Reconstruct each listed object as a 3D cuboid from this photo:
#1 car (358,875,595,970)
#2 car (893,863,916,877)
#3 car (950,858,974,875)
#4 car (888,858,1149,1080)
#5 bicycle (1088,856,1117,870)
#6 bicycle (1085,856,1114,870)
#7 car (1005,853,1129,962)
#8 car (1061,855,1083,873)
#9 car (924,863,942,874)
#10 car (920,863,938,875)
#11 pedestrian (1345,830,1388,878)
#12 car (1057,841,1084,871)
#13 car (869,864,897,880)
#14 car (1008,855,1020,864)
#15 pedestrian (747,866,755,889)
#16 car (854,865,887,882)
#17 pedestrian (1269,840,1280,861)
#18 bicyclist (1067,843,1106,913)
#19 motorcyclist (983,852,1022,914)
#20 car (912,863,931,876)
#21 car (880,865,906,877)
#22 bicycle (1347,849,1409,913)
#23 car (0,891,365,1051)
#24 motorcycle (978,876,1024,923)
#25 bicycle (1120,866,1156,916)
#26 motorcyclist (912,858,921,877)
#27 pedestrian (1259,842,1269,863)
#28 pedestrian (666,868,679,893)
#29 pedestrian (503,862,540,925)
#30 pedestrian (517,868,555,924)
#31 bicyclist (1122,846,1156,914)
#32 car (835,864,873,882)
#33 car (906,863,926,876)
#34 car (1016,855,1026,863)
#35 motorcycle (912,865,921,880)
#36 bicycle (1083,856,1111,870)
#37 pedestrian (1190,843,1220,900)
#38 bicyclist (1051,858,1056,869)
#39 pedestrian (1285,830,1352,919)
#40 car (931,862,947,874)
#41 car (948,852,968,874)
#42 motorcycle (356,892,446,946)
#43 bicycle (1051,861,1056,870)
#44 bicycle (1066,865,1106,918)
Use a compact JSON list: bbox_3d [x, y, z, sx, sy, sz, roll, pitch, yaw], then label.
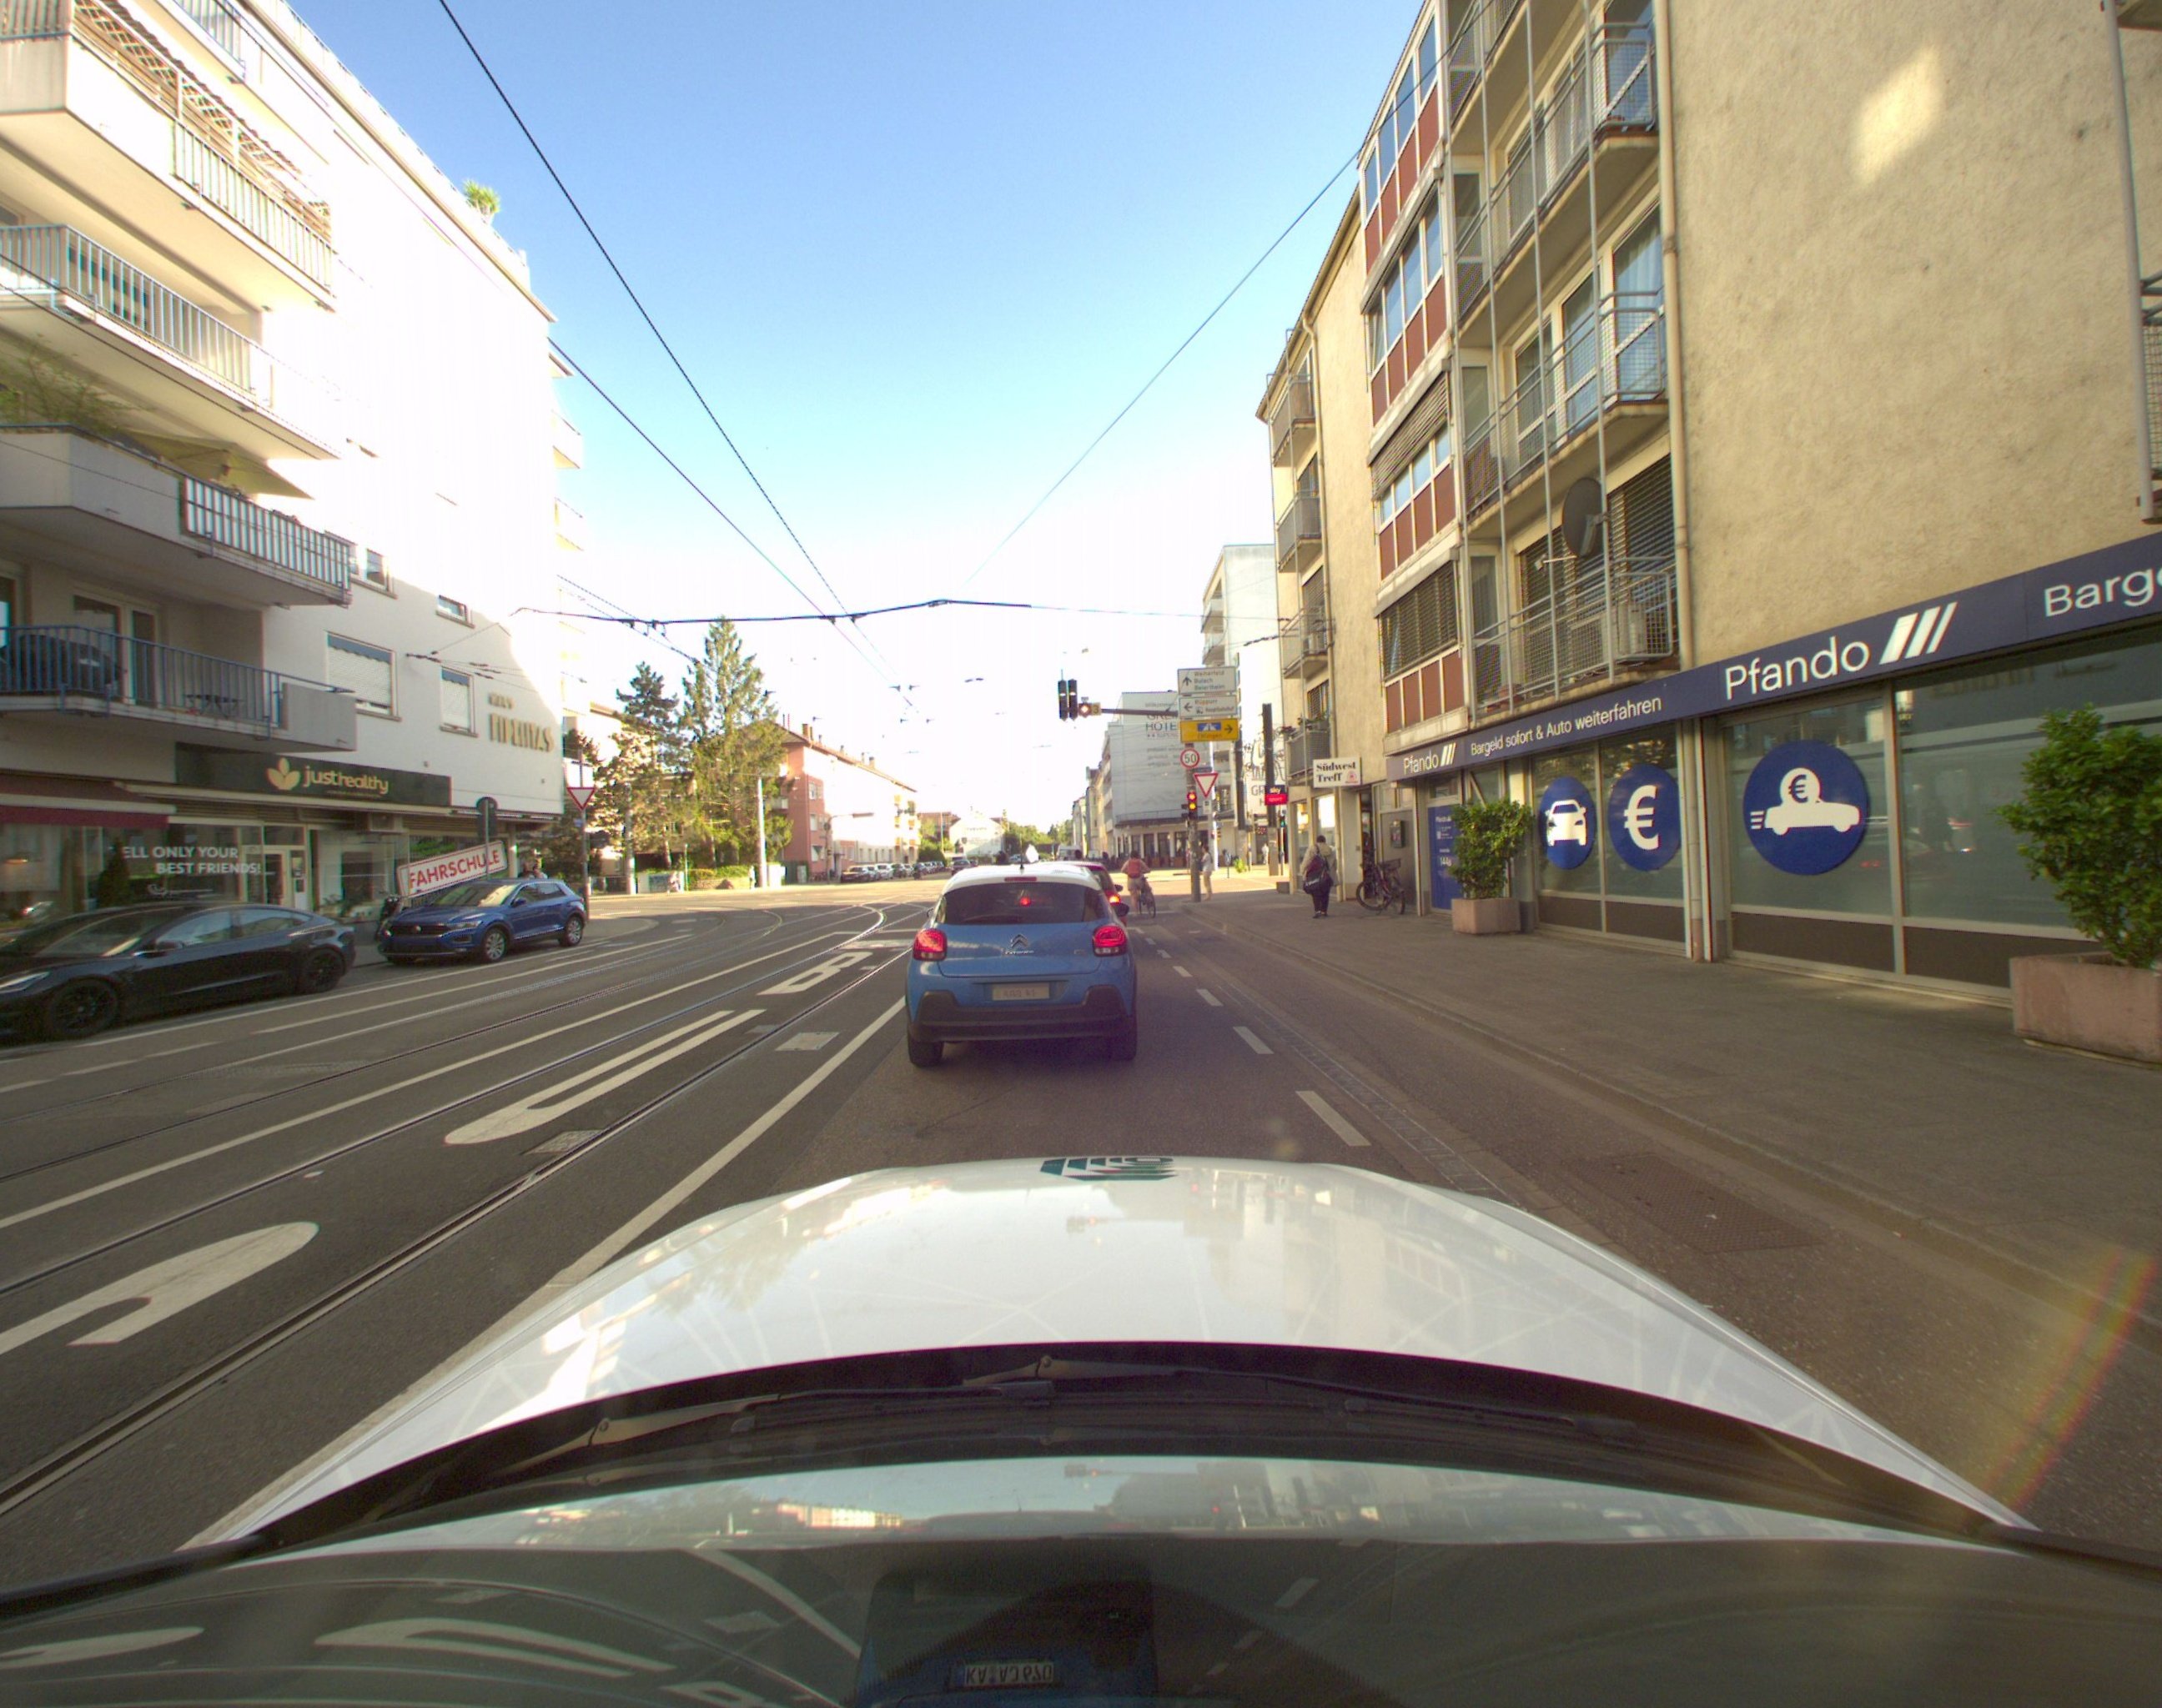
[{"bbox_3d":[-11.820,1.248,16.349,1.765,1.503,4.233,0,1,-4],"label":"car"},{"bbox_3d":[-20.065,1.826,92.732,1.865,1.576,3.995,0,-1,-3],"label":"car"},{"bbox_3d":[-11.229,1.175,76.898,1.775,1.486,3.824,-3,0,-3],"label":"car"},{"bbox_3d":[-0.409,0.786,7.331,1.731,1.452,3.662,-1,0,0],"label":"car"},{"bbox_3d":[1.763,0.740,65.935,2.246,1.001,0.855,-4,0,-4],"label":"bicycle"},{"bbox_3d":[1.534,0.743,67.309,2.246,1.001,0.855,-4,0,-4],"label":"bicycle"},{"bbox_3d":[-0.282,0.764,13.610,1.780,1.521,3.758,0,0,-3],"label":"car"},{"bbox_3d":[-0.767,0.803,68.037,1.654,1.431,3.882,0,-1,-4],"label":"car"},{"bbox_3d":[-20.585,1.996,113.405,1.865,1.576,3.995,0,-1,-3],"label":"car"},{"bbox_3d":[-20.142,1.951,108.283,1.865,1.576,3.995,0,-1,-3],"label":"car"},{"bbox_3d":[6.751,-0.004,19.252,0.627,1.087,0.672,-3,1,-36],"label":"pedestrian"},{"bbox_3d":[-0.971,0.190,73.030,2.260,2.482,5.002,-1,0,-3],"label":"car"},{"bbox_3d":[-19.417,1.717,80.058,1.737,1.526,4.227,0,-1,-1],"label":"car"},{"bbox_3d":[-14.020,1.207,170.553,2.212,1.932,4.946,0,-1,-1],"label":"car"},{"bbox_3d":[-23.592,1.673,58.198,0.519,1.568,0.568,0,-1,-26],"label":"pedestrian"},{"bbox_3d":[-19.432,1.772,75.331,1.897,1.436,4.102,0,0,0],"label":"car"},{"bbox_3d":[15.301,-0.277,64.533,0.604,1.608,0.673,-1,-1,40],"label":"pedestrian"},{"bbox_3d":[0.142,0.572,20.089,0.937,1.673,1.079,0,-1,0],"label":"bicyclist"},{"bbox_3d":[-1.912,0.698,19.954,0.852,1.488,0.729,0,-1,1],"label":"motorcyclist"},{"bbox_3d":[-20.199,1.912,103.385,1.865,1.576,3.995,0,-1,-3],"label":"car"},{"bbox_3d":[-19.967,1.769,86.720,1.942,1.239,4.279,0,0,-2],"label":"car"},{"bbox_3d":[5.708,0.504,15.755,0.495,1.161,1.776,-2,-1,-1],"label":"bicycle"},{"bbox_3d":[-12.001,1.303,10.430,1.764,1.475,4.443,0,0,-1],"label":"car"},{"bbox_3d":[-1.911,1.067,19.786,0.852,1.047,1.943,0,-1,2],"label":"motorcycle"},{"bbox_3d":[1.476,0.910,20.660,0.807,1.181,2.068,0,-1,6],"label":"bicycle"},{"bbox_3d":[-13.635,1.108,67.575,0.694,1.497,0.681,-2,-2,-12],"label":"motorcyclist"},{"bbox_3d":[13.965,-0.094,62.174,0.604,1.608,0.673,-1,-1,29],"label":"pedestrian"},{"bbox_3d":[-28.447,1.831,56.701,0.785,1.722,0.699,0,-1,-22],"label":"pedestrian"},{"bbox_3d":[-17.325,1.230,25.210,0.568,1.900,0.742,-2,-3,16],"label":"pedestrian"},{"bbox_3d":[-18.061,1.370,26.989,0.732,1.792,0.663,-2,0,5],"label":"pedestrian"},{"bbox_3d":[1.472,0.648,20.658,0.807,1.692,0.937,0,-1,6],"label":"bicyclist"},{"bbox_3d":[-19.375,1.628,69.685,2.149,1.432,4.435,0,-2,-3],"label":"car"},{"bbox_3d":[-20.010,1.874,98.795,1.865,1.576,3.995,0,-1,-3],"label":"car"},{"bbox_3d":[-13.866,1.204,188.471,2.068,1.762,5.034,0,0,-1],"label":"car"},{"bbox_3d":[-13.609,1.548,67.466,0.712,1.220,1.957,-2,-2,-12],"label":"motorcycle"},{"bbox_3d":[1.380,0.760,68.425,2.246,1.001,0.855,-4,0,-4],"label":"bicycle"},{"bbox_3d":[3.700,0.511,24.219,0.534,1.623,0.737,-7,-3,23],"label":"pedestrian"},{"bbox_3d":[-5.143,1.699,151.403,0.787,2.024,0.987,0,-1,3],"label":"bicyclist"},{"bbox_3d":[4.551,0.376,15.658,0.883,1.592,0.809,-5,1,-7],"label":"pedestrian"},{"bbox_3d":[-20.781,2.047,119.628,1.865,1.576,3.995,0,-1,-3],"label":"car"},{"bbox_3d":[-18.061,1.265,119.739,2.411,3.142,3.487,0,-1,-1],"label":"car"},{"bbox_3d":[-15.812,1.486,18.998,0.605,1.134,1.795,0,-1,-2],"label":"motorcycle"},{"bbox_3d":[-5.141,2.062,151.397,0.787,1.670,2.231,0,-1,3],"label":"bicycle"},{"bbox_3d":[0.134,0.902,20.122,0.937,1.223,2.094,0,-1,1],"label":"bicycle"}]
